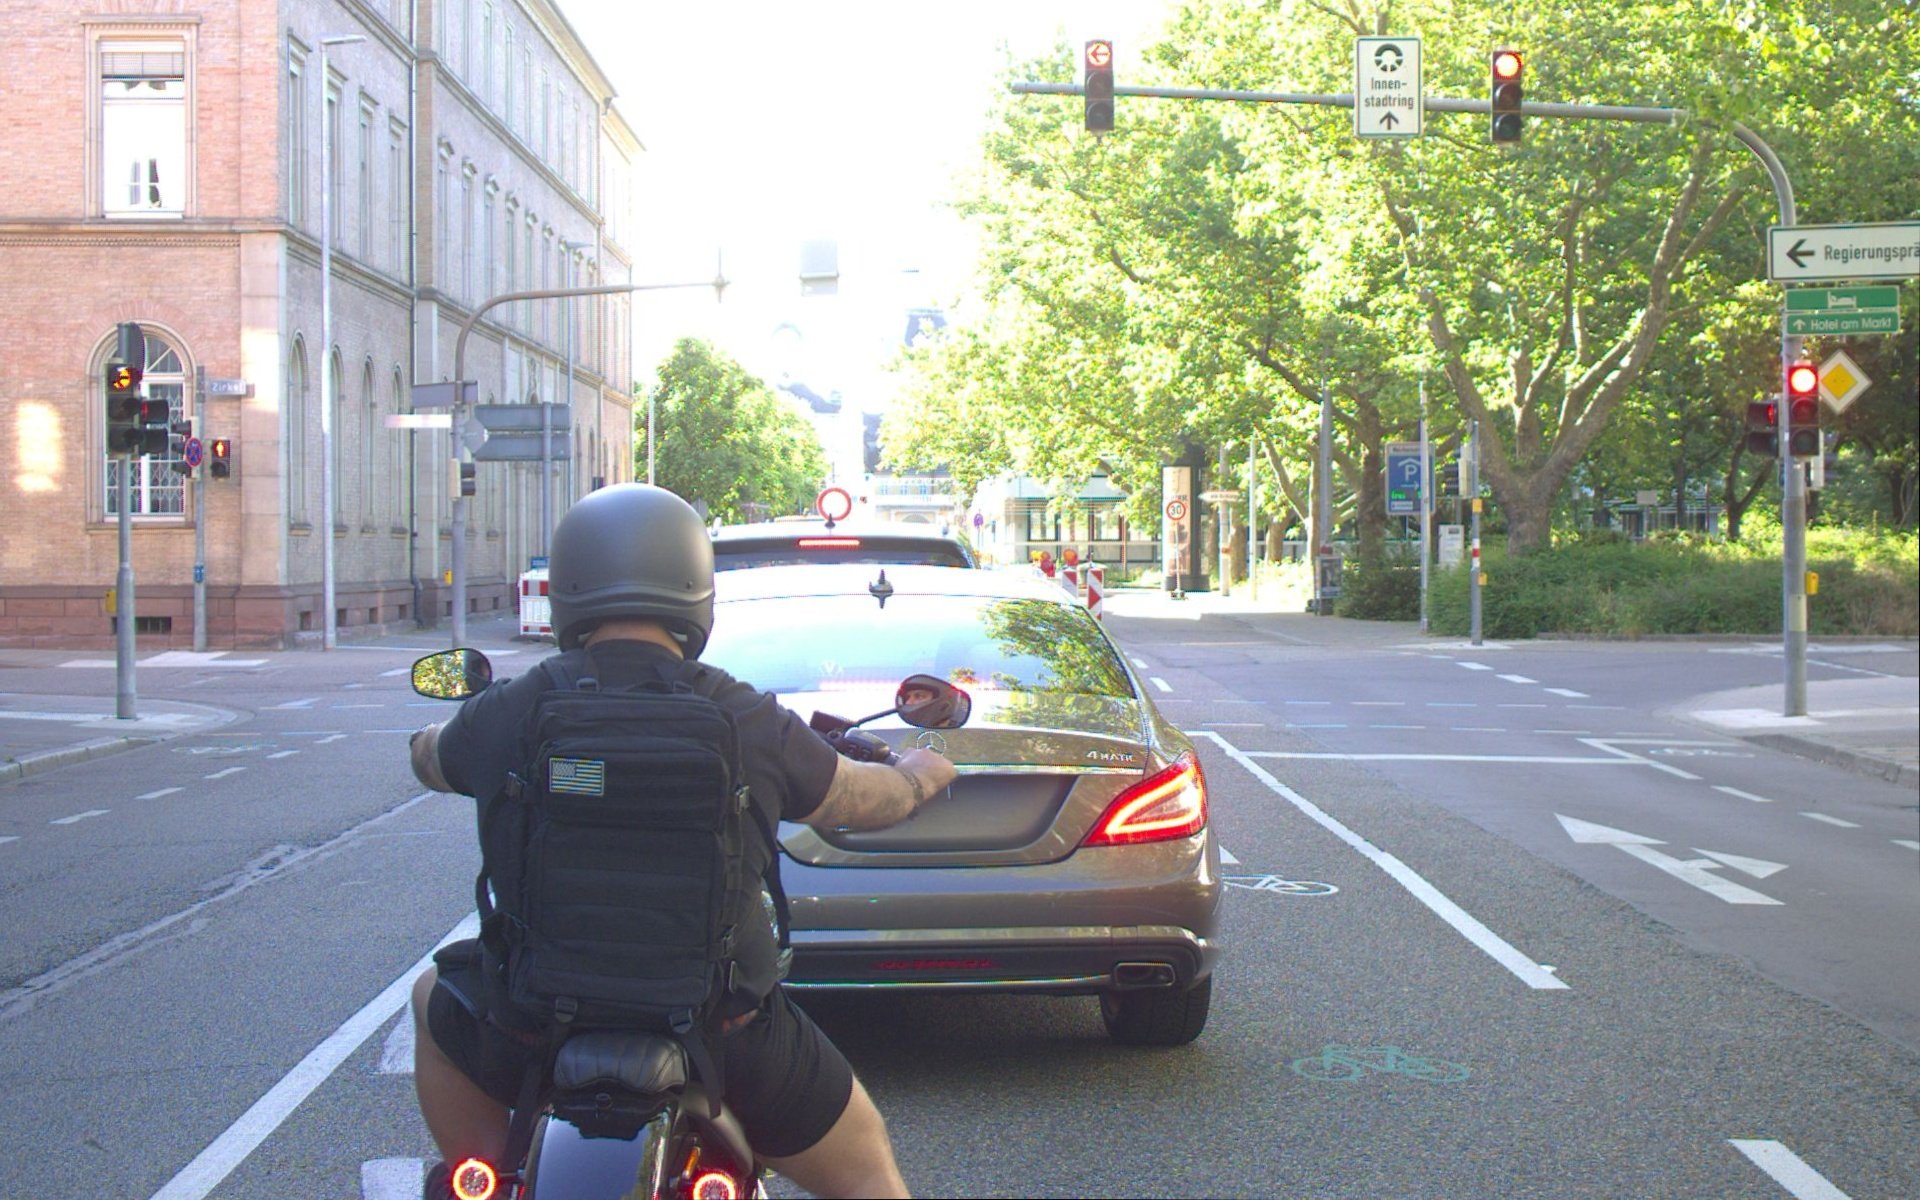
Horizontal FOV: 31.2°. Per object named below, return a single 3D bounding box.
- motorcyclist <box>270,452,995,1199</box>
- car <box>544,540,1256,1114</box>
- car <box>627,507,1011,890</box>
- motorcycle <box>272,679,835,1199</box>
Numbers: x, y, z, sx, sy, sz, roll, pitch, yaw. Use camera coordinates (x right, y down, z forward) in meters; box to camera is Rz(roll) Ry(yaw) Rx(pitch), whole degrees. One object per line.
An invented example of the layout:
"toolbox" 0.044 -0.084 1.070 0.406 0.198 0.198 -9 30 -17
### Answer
"motorcyclist" -0.464 0.599 5.325 0.990 1.605 1.120 1 0 -1
"car" -0.405 0.571 11.125 1.824 1.481 4.334 1 1 -7
"car" -0.635 0.407 16.971 1.651 1.646 4.000 1 1 -1
"motorcycle" -0.560 0.781 5.420 0.660 1.236 2.058 1 1 -1
